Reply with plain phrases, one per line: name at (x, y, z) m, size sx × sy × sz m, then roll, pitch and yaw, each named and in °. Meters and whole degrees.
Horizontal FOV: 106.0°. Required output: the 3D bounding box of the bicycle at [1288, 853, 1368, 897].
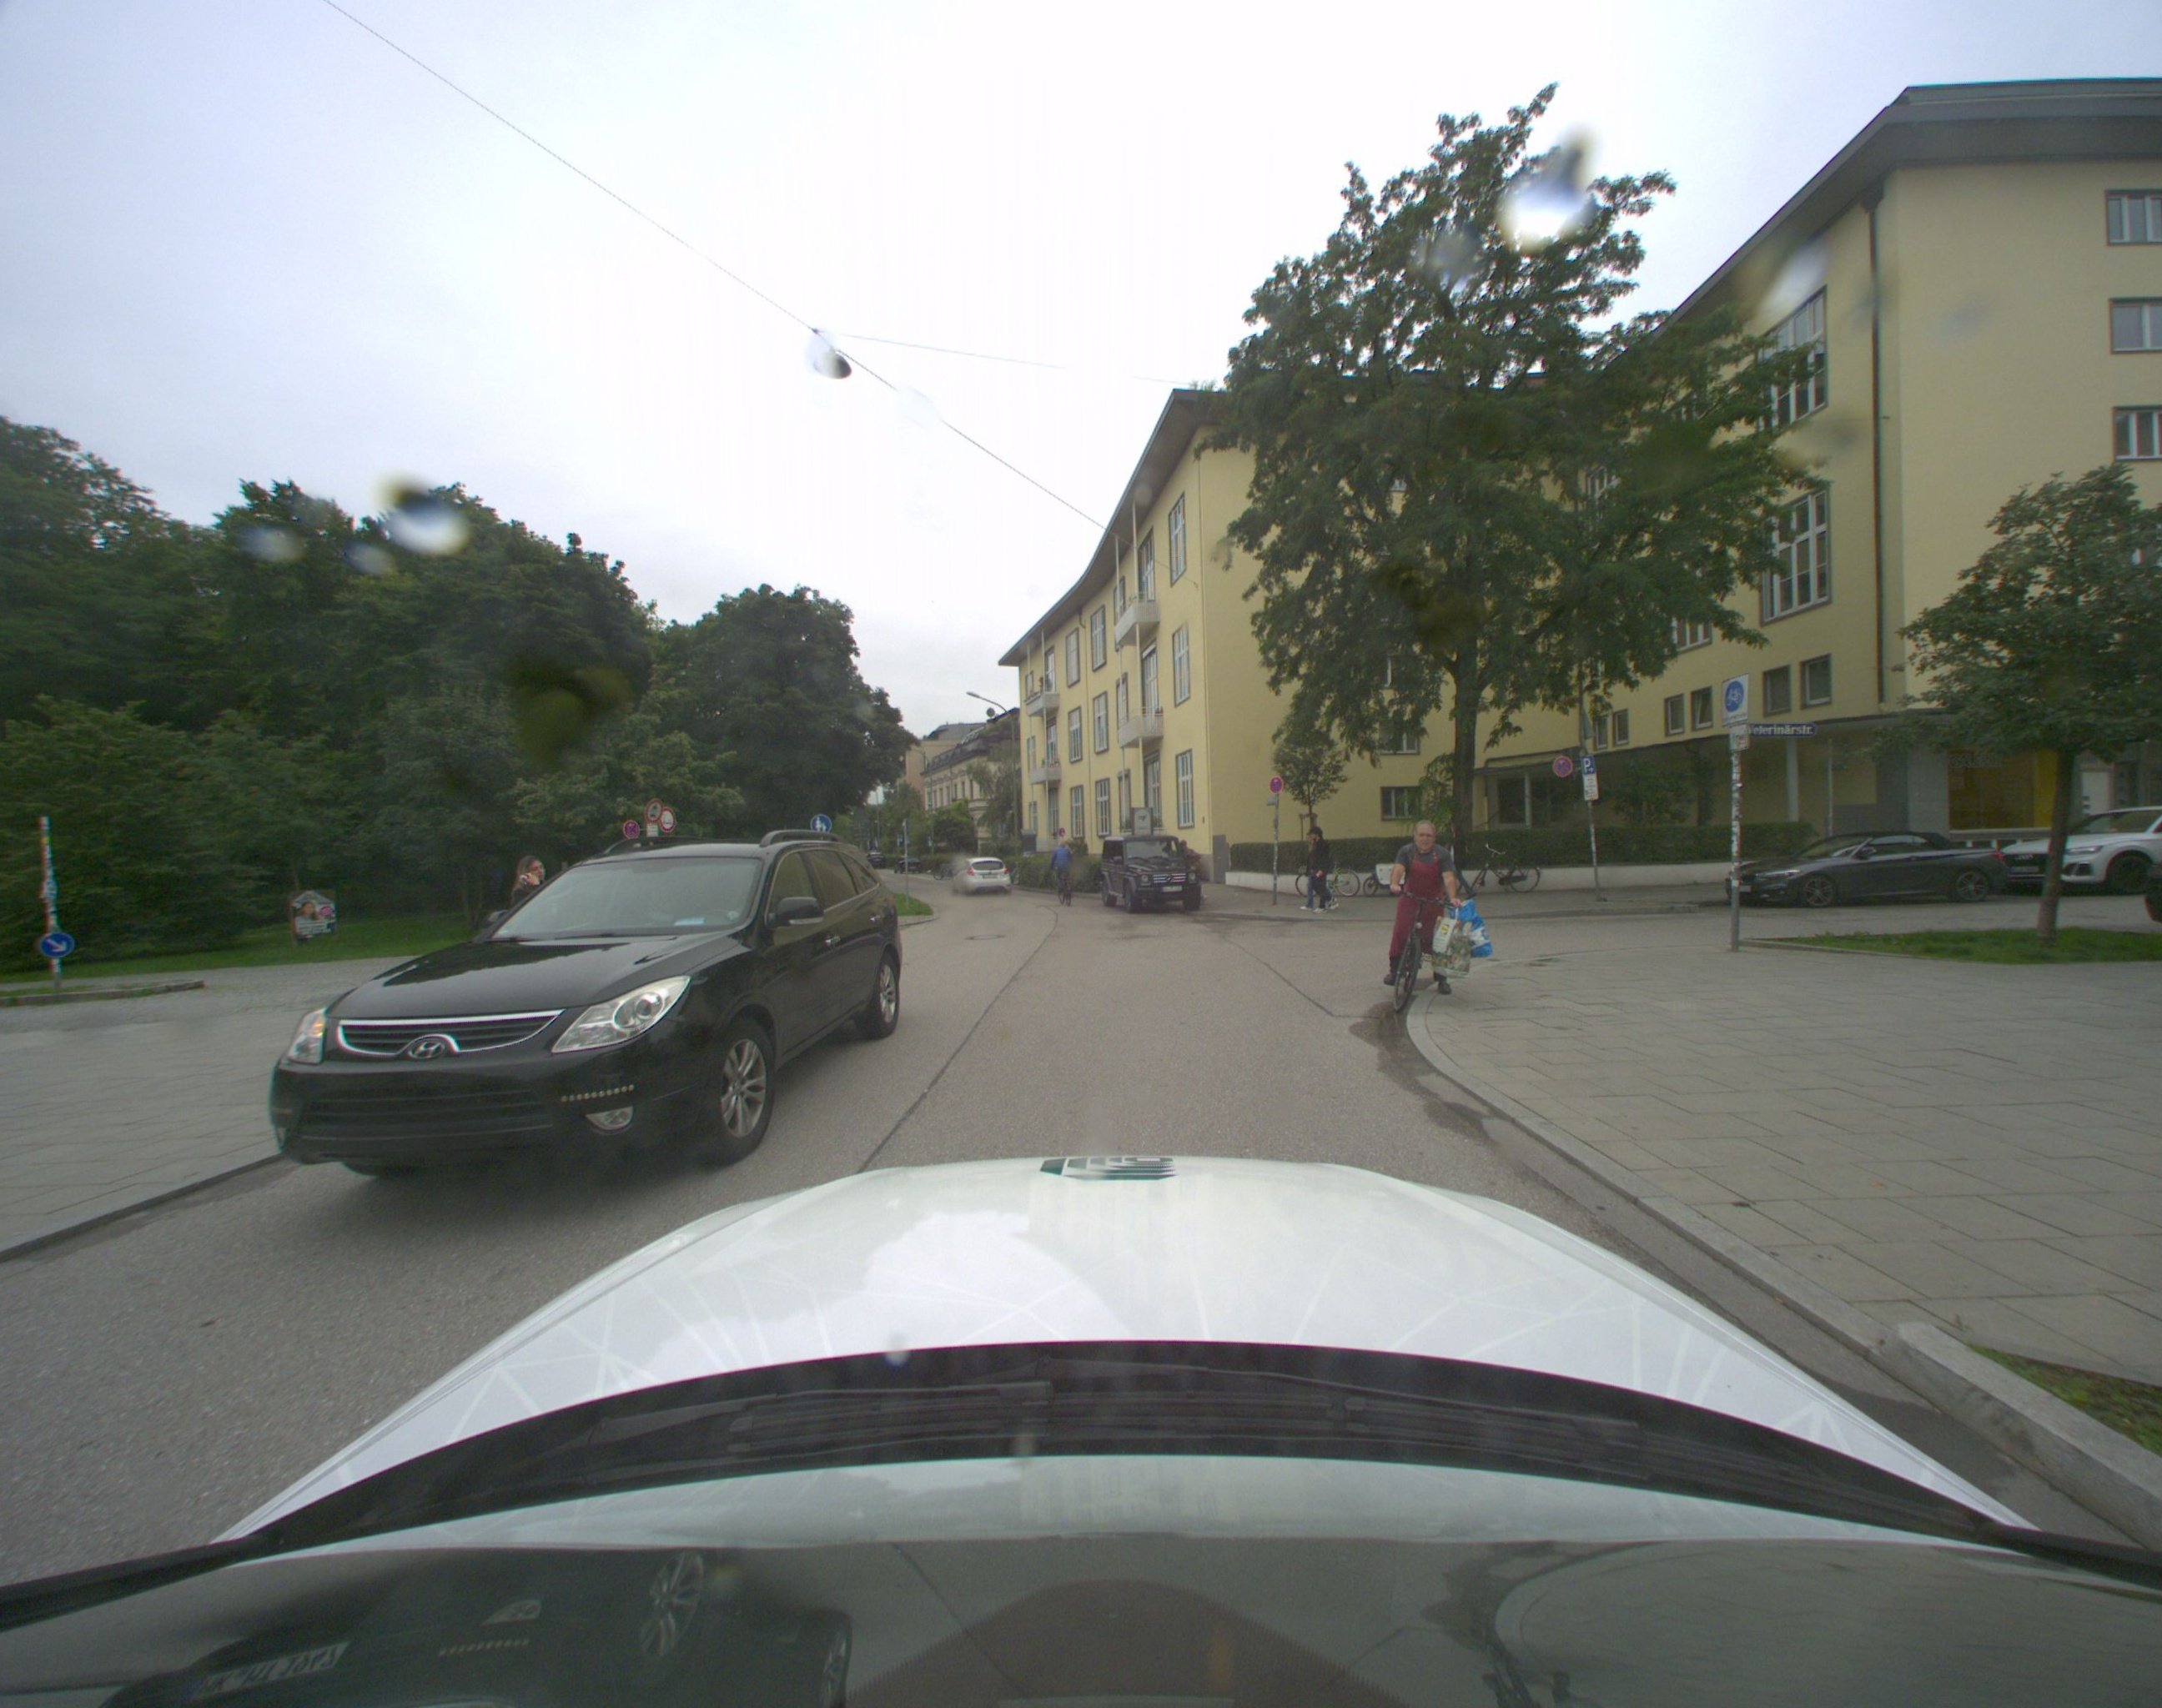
bicycle at (6.502, 0.563, 21.520) m, size 0.532 × 1.084 × 1.926 m, roll -2°, pitch -2°, yaw -44°

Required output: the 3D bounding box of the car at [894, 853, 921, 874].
car at (-14.205, 0.742, 66.446) m, size 1.652 × 1.558 × 3.536 m, roll -2°, pitch 1°, yaw -19°

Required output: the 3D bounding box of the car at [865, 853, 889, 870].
car at (-21.272, 0.763, 84.847) m, size 1.800 × 1.680 × 3.970 m, roll -2°, pitch 1°, yaw -22°

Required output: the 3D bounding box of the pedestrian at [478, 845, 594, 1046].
pedestrian at (-4.889, 0.783, 7.348) m, size 0.542 × 1.697 × 0.664 m, roll -4°, pitch 0°, yaw -9°

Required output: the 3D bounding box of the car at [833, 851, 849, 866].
car at (-34.918, 0.631, 118.315) m, size 2.072 × 1.966 × 4.946 m, roll -2°, pitch 0°, yaw -18°

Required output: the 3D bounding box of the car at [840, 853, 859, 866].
car at (-31.184, 0.709, 109.657) m, size 2.002 × 1.600 × 4.223 m, roll -2°, pitch 0°, yaw -22°

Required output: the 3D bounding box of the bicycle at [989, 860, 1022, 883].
bicycle at (-3.772, 0.866, 40.684) m, size 1.539 × 1.014 × 0.364 m, roll -3°, pitch 1°, yaw -23°

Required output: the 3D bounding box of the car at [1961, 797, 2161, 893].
car at (20.393, -0.215, 15.832) m, size 4.289 × 1.662 × 1.859 m, roll -4°, pitch -3°, yaw 3°

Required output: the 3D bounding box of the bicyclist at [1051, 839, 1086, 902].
bicyclist at (-0.367, 0.461, 23.574) m, size 0.911 × 1.764 × 1.215 m, roll -2°, pitch 0°, yaw -1°

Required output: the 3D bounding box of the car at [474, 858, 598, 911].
car at (-23.531, 1.299, 35.311) m, size 1.764 × 2.013 × 4.026 m, roll -3°, pitch 0°, yaw 34°

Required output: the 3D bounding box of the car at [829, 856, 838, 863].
car at (-60.751, 1.427, 200.206) m, size 1.805 × 1.658 × 4.229 m, roll -2°, pitch 0°, yaw -14°

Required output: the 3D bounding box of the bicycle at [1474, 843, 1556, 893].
bicycle at (10.437, 0.331, 19.610) m, size 1.675 × 1.130 × 0.460 m, roll -2°, pitch 0°, yaw 1°

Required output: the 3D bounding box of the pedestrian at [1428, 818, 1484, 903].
pedestrian at (8.573, 0.139, 18.628) m, size 0.847 × 1.857 × 0.767 m, roll -3°, pitch 0°, yaw 2°

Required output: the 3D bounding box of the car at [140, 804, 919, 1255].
car at (-2.648, 0.674, 5.535) m, size 1.986 × 1.719 × 4.617 m, roll -2°, pitch 1°, yaw 1°

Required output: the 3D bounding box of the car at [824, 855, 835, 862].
car at (-60.009, 1.112, 194.385) m, size 1.996 × 1.600 × 4.448 m, roll -2°, pitch 0°, yaw -13°

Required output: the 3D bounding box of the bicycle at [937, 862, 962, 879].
bicycle at (-8.552, 1.073, 52.849) m, size 1.545 × 1.014 × 0.405 m, roll -4°, pitch 1°, yaw -38°

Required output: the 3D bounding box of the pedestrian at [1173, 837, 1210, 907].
pedestrian at (2.917, 0.457, 21.528) m, size 0.844 × 1.757 × 0.955 m, roll -3°, pitch 0°, yaw 4°

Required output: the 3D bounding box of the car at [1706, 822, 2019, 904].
car at (15.113, 0.205, 15.952) m, size 4.300 × 1.367 × 1.664 m, roll -2°, pitch -2°, yaw 4°

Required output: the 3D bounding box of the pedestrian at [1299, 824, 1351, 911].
pedestrian at (5.239, 0.289, 17.529) m, size 0.982 × 1.809 × 0.662 m, roll -2°, pitch 0°, yaw 15°

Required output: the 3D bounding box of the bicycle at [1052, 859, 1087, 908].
bicycle at (-0.357, 0.816, 23.513) m, size 0.918 × 1.252 × 2.320 m, roll -2°, pitch 1°, yaw -2°

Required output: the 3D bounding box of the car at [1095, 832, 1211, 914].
car at (1.781, 0.451, 21.853) m, size 1.874 × 1.887 × 4.602 m, roll -2°, pitch 1°, yaw -10°

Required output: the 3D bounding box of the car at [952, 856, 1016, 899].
car at (-3.639, 0.803, 30.029) m, size 1.751 × 1.406 × 3.707 m, roll -2°, pitch 0°, yaw -15°

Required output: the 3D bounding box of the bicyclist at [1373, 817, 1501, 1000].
bicyclist at (3.347, 0.485, 7.766) m, size 0.869 × 1.609 × 1.053 m, roll -2°, pitch 0°, yaw 11°

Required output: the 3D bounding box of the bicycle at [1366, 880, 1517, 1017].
bicycle at (3.368, 0.824, 7.842) m, size 0.870 × 1.019 × 2.198 m, roll -2°, pitch 1°, yaw 12°

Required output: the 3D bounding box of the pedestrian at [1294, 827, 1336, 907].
pedestrian at (5.271, 0.289, 18.352) m, size 0.820 × 1.746 × 0.744 m, roll -2°, pitch 0°, yaw 18°

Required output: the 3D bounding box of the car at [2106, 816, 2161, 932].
car at (15.320, 0.170, 9.393) m, size 4.474 × 1.398 × 1.970 m, roll -2°, pitch 0°, yaw 1°

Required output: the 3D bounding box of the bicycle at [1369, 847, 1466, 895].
bicycle at (8.301, 0.419, 20.189) m, size 2.150 × 1.115 × 0.644 m, roll -2°, pitch 0°, yaw 19°
